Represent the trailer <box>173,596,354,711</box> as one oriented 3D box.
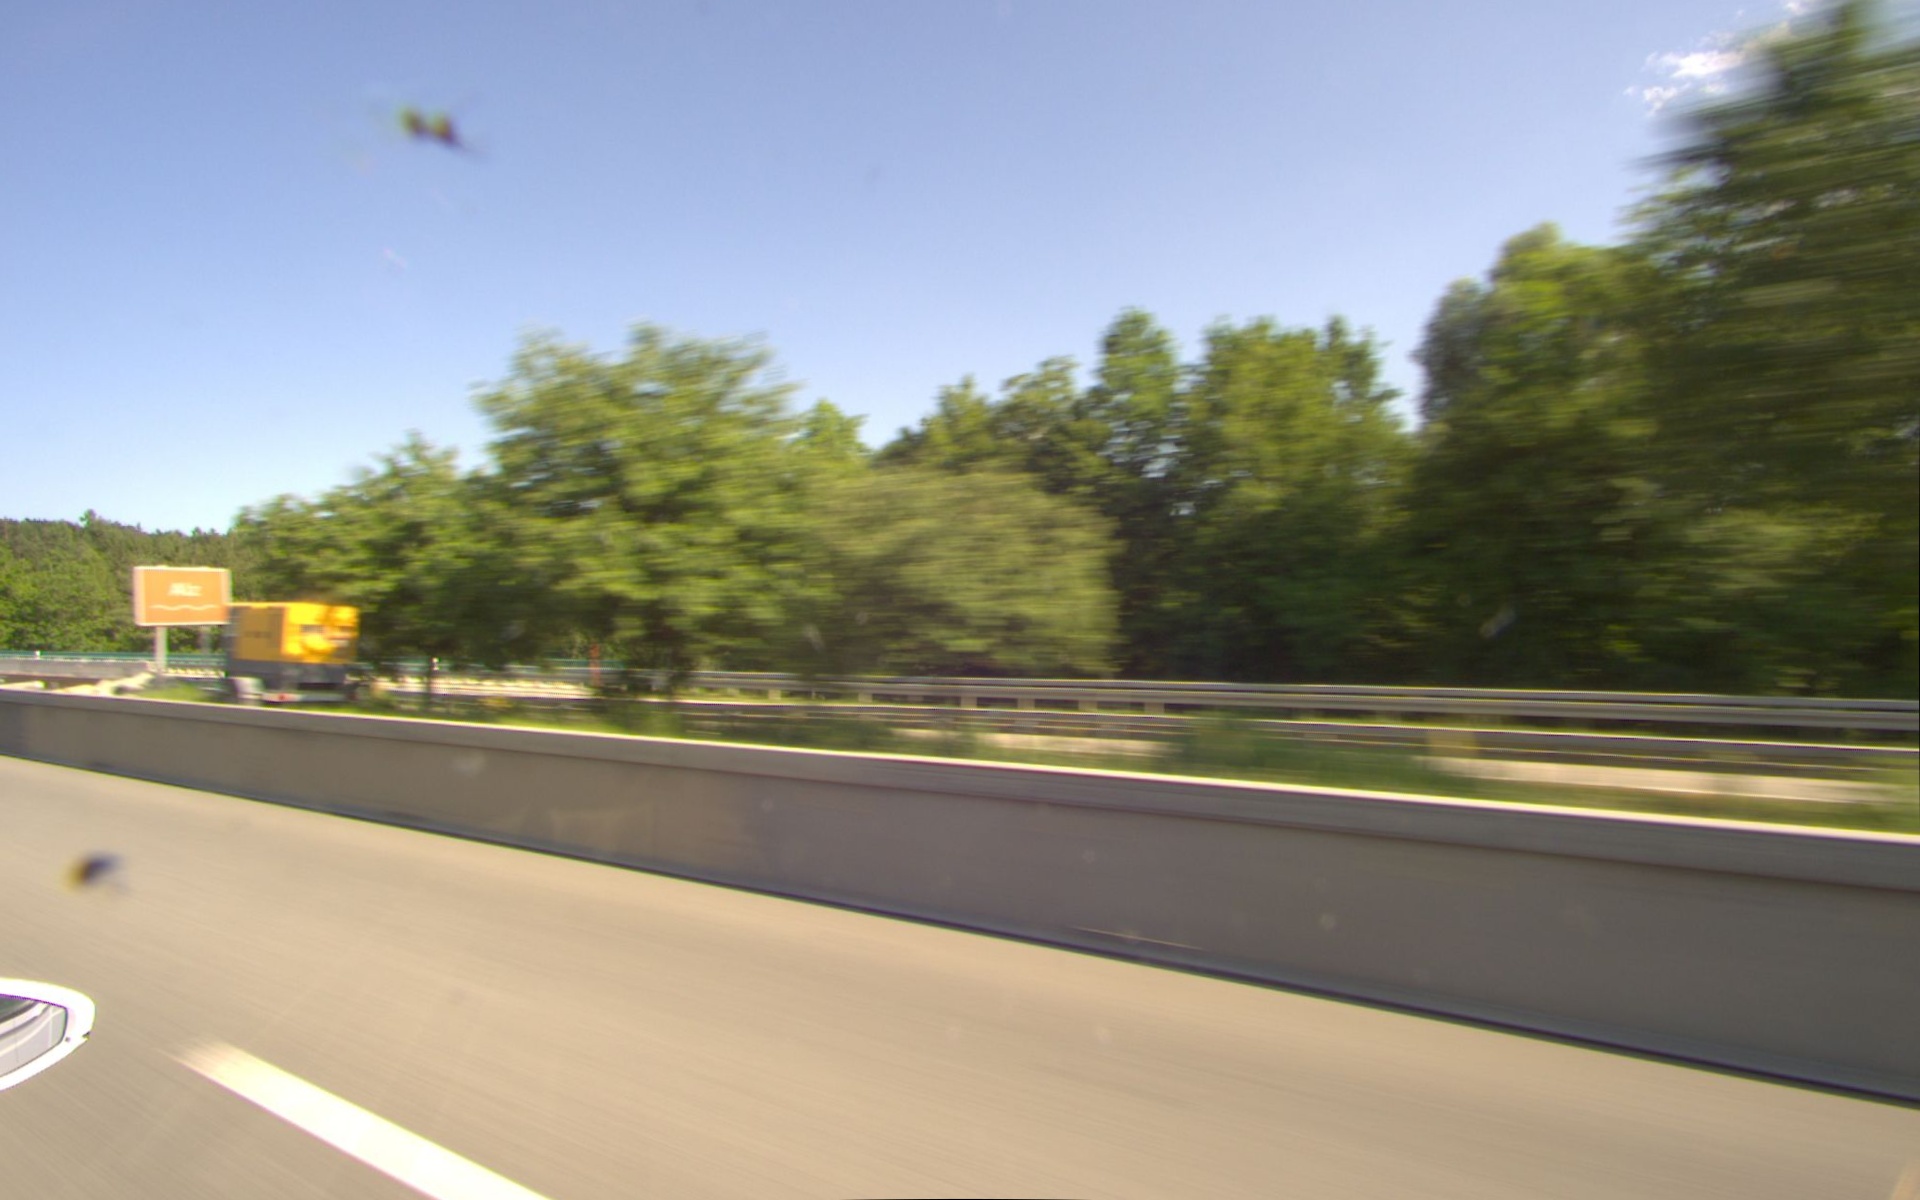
[{"bbox_3d":[-12.607,0.907,18.063,3.941,1.898,1.123,-1,0,31],"label":"trailer"}]
